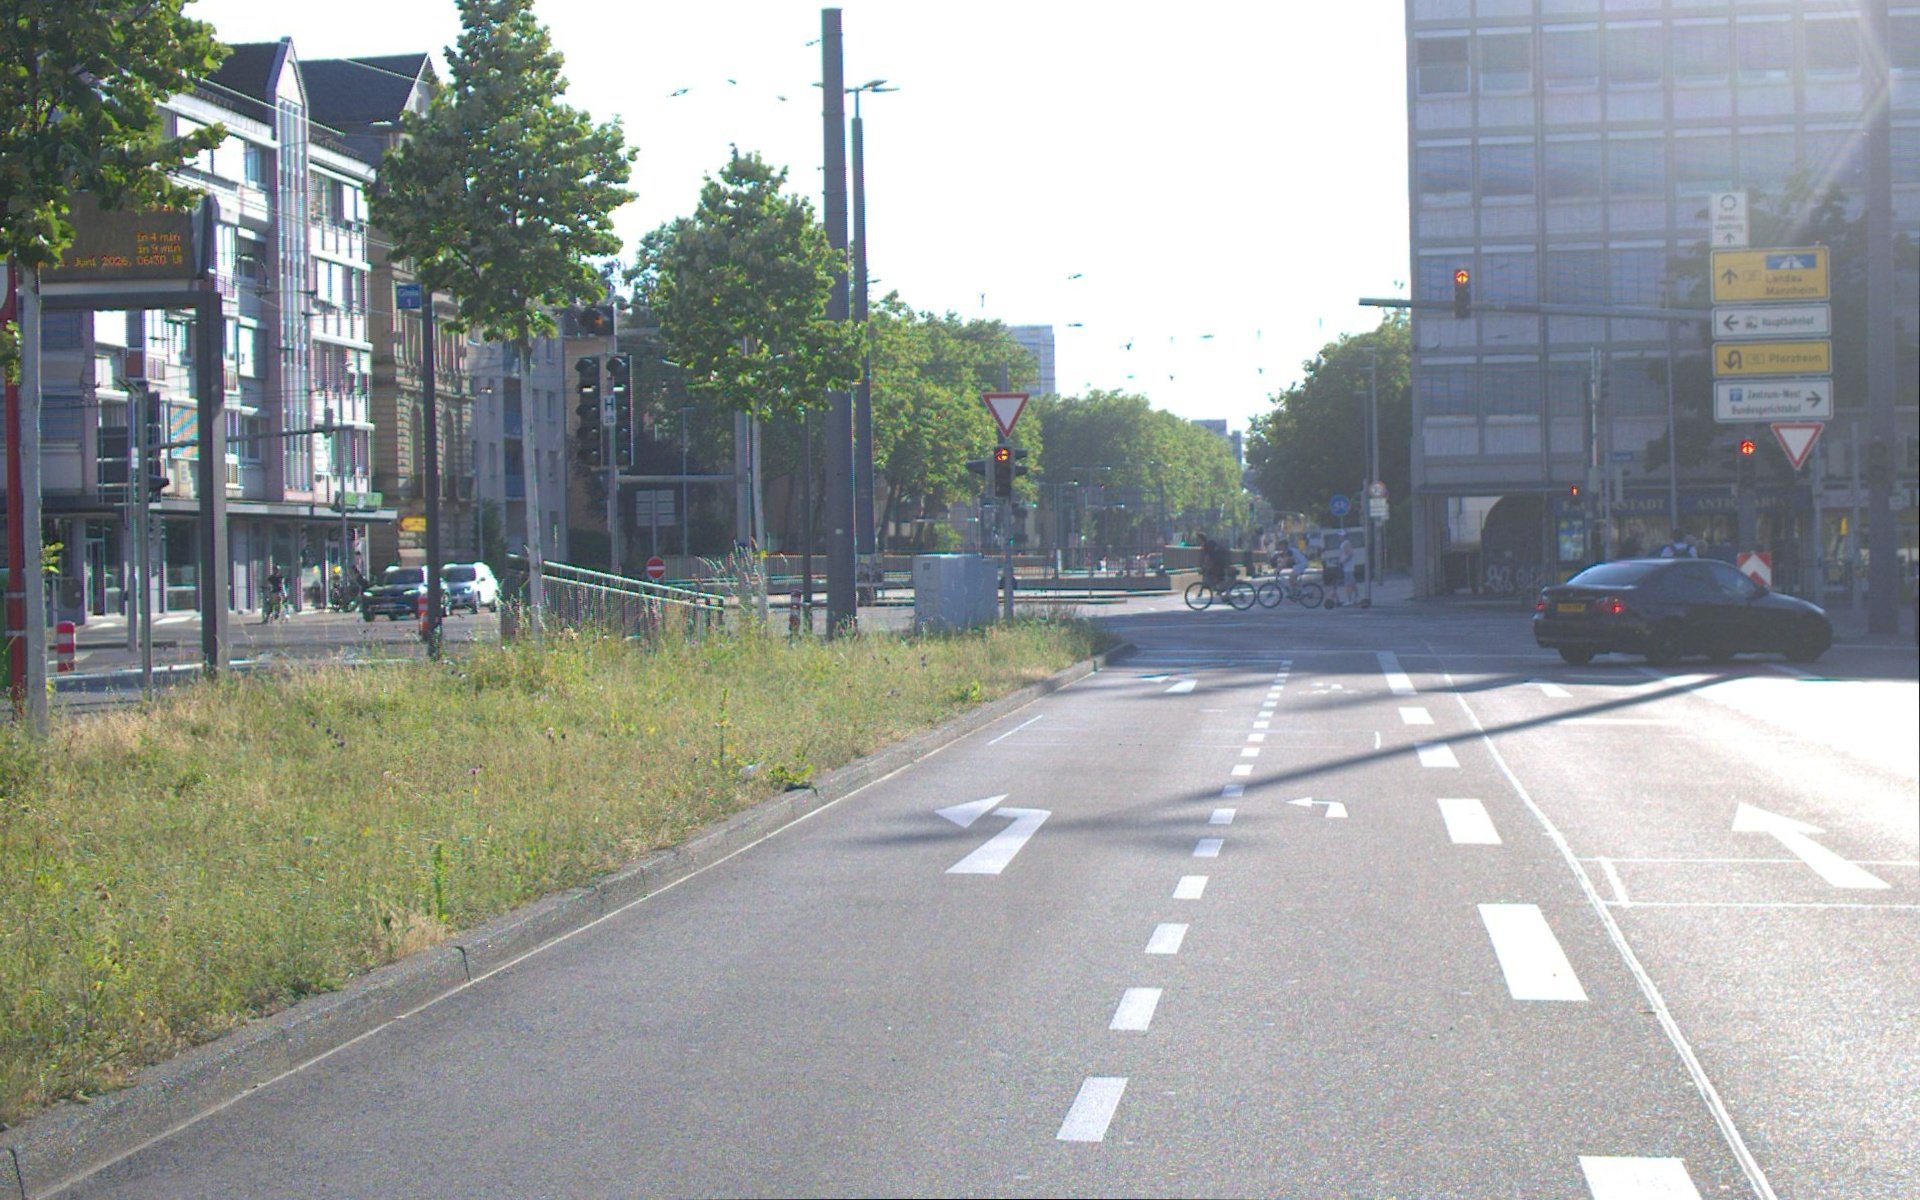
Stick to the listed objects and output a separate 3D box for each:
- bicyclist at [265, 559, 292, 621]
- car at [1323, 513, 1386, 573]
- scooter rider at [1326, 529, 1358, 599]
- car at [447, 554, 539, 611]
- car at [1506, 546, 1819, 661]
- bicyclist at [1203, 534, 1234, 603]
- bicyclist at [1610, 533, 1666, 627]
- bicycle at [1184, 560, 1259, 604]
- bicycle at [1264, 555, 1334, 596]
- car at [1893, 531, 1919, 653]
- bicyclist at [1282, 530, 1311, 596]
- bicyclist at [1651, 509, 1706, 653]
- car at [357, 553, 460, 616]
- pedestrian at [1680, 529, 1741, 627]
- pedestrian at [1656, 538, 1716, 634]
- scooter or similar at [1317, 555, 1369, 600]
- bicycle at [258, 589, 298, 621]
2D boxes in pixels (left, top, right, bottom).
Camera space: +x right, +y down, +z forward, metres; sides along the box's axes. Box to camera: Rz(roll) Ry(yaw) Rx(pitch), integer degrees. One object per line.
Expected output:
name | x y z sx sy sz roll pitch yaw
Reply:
bicyclist | -20.534 -0.306 103.609 0.593 1.855 0.642 -1 1 8
car | 16.776 -2.403 146.390 2.486 2.384 5.933 -2 0 6
scooter rider | 9.371 -0.889 84.300 0.663 1.706 0.526 -1 1 -3
car | -15.650 -0.601 115.443 1.994 1.853 3.999 -1 1 8
car | 9.228 0.026 45.037 3.987 1.421 1.749 -1 1 -35
bicyclist | 6.446 -0.784 85.629 0.663 1.706 0.538 -1 1 -3
bicyclist | 12.117 -0.361 61.463 0.959 1.656 0.691 0 1 10
bicycle | 6.506 -0.447 85.635 1.775 1.068 0.535 -1 1 -3
bicycle | 8.913 -0.643 90.417 1.731 1.056 0.539 -1 1 -3
car | 14.877 -0.146 49.476 1.996 1.687 3.994 1 2 27
bicyclist | 8.849 -0.976 90.411 0.663 1.706 0.538 -1 1 -3
bicyclist | 10.264 -0.278 49.140 0.644 2.006 1.067 1 2 7
car | -17.201 -0.503 107.402 1.994 1.853 3.999 -1 1 8
pedestrian | 12.438 -0.367 57.014 0.878 1.592 0.655 -1 1 4
pedestrian | 12.194 -0.236 57.737 0.878 1.592 0.655 -1 1 4
scooter or similar | 9.397 -0.562 84.308 1.171 1.068 0.530 -1 1 -3
bicycle | -20.542 0.156 103.544 0.598 0.912 1.835 -1 1 8
